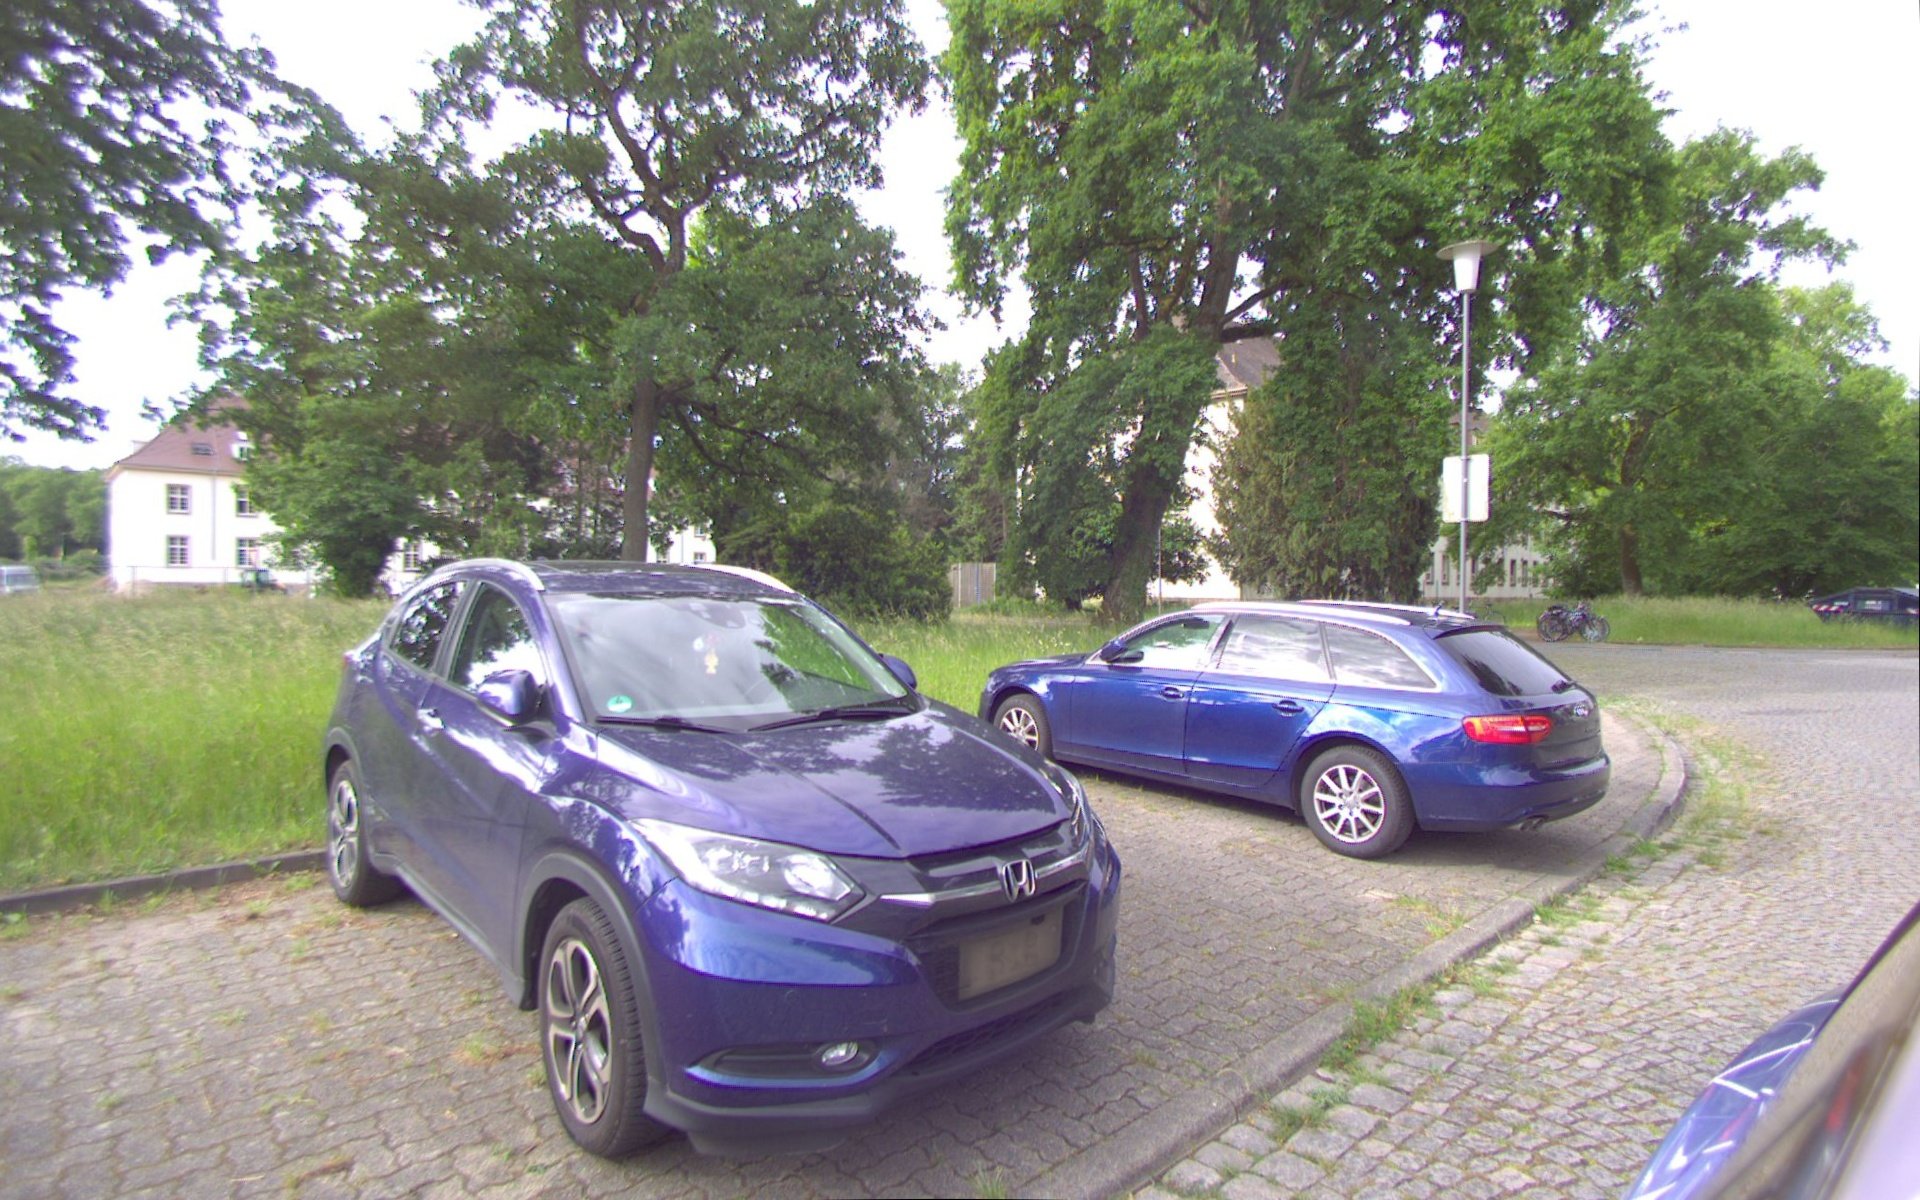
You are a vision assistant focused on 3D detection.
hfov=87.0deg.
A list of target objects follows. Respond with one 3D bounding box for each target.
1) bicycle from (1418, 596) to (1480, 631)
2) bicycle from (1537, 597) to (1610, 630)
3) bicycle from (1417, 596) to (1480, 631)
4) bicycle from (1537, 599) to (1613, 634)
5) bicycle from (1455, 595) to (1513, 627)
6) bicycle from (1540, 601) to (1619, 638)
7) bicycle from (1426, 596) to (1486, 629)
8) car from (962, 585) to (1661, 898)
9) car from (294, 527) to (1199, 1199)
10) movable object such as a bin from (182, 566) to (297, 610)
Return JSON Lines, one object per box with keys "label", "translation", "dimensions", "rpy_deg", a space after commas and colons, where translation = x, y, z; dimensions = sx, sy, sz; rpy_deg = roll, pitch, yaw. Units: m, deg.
{"label": "bicycle", "translation": [16.526, 0.445, 34.238], "dimensions": [1.837, 1.137, 0.617], "rpy_deg": [0, 0, 24]}
{"label": "bicycle", "translation": [20.587, 0.450, 33.988], "dimensions": [2.007, 1.090, 0.617], "rpy_deg": [0, 0, 24]}
{"label": "bicycle", "translation": [16.233, 0.452, 33.672], "dimensions": [1.837, 1.137, 0.617], "rpy_deg": [0, 0, 24]}
{"label": "bicycle", "translation": [19.496, 0.523, 32.122], "dimensions": [1.948, 1.090, 0.584], "rpy_deg": [0, 0, 20]}
{"label": "bicycle", "translation": [19.154, 0.392, 37.012], "dimensions": [1.837, 1.137, 0.617], "rpy_deg": [0, 0, 24]}
{"label": "bicycle", "translation": [18.733, 0.576, 30.660], "dimensions": [1.948, 1.090, 0.584], "rpy_deg": [0, 0, 20]}
{"label": "bicycle", "translation": [17.451, 0.427, 35.639], "dimensions": [1.837, 1.137, 0.617], "rpy_deg": [0, 0, 24]}
{"label": "car", "translation": [2.130, 0.668, 7.285], "dimensions": [1.753, 1.439, 4.480], "rpy_deg": [0, 2, -40]}
{"label": "car", "translation": [-1.283, 0.592, 4.171], "dimensions": [1.763, 1.591, 4.167], "rpy_deg": [-1, 2, -43]}
{"label": "movable object such as a bin", "translation": [-45.468, -0.752, 64.065], "dimensions": [5.863, 2.688, 2.176], "rpy_deg": [-1, 0, -34]}
